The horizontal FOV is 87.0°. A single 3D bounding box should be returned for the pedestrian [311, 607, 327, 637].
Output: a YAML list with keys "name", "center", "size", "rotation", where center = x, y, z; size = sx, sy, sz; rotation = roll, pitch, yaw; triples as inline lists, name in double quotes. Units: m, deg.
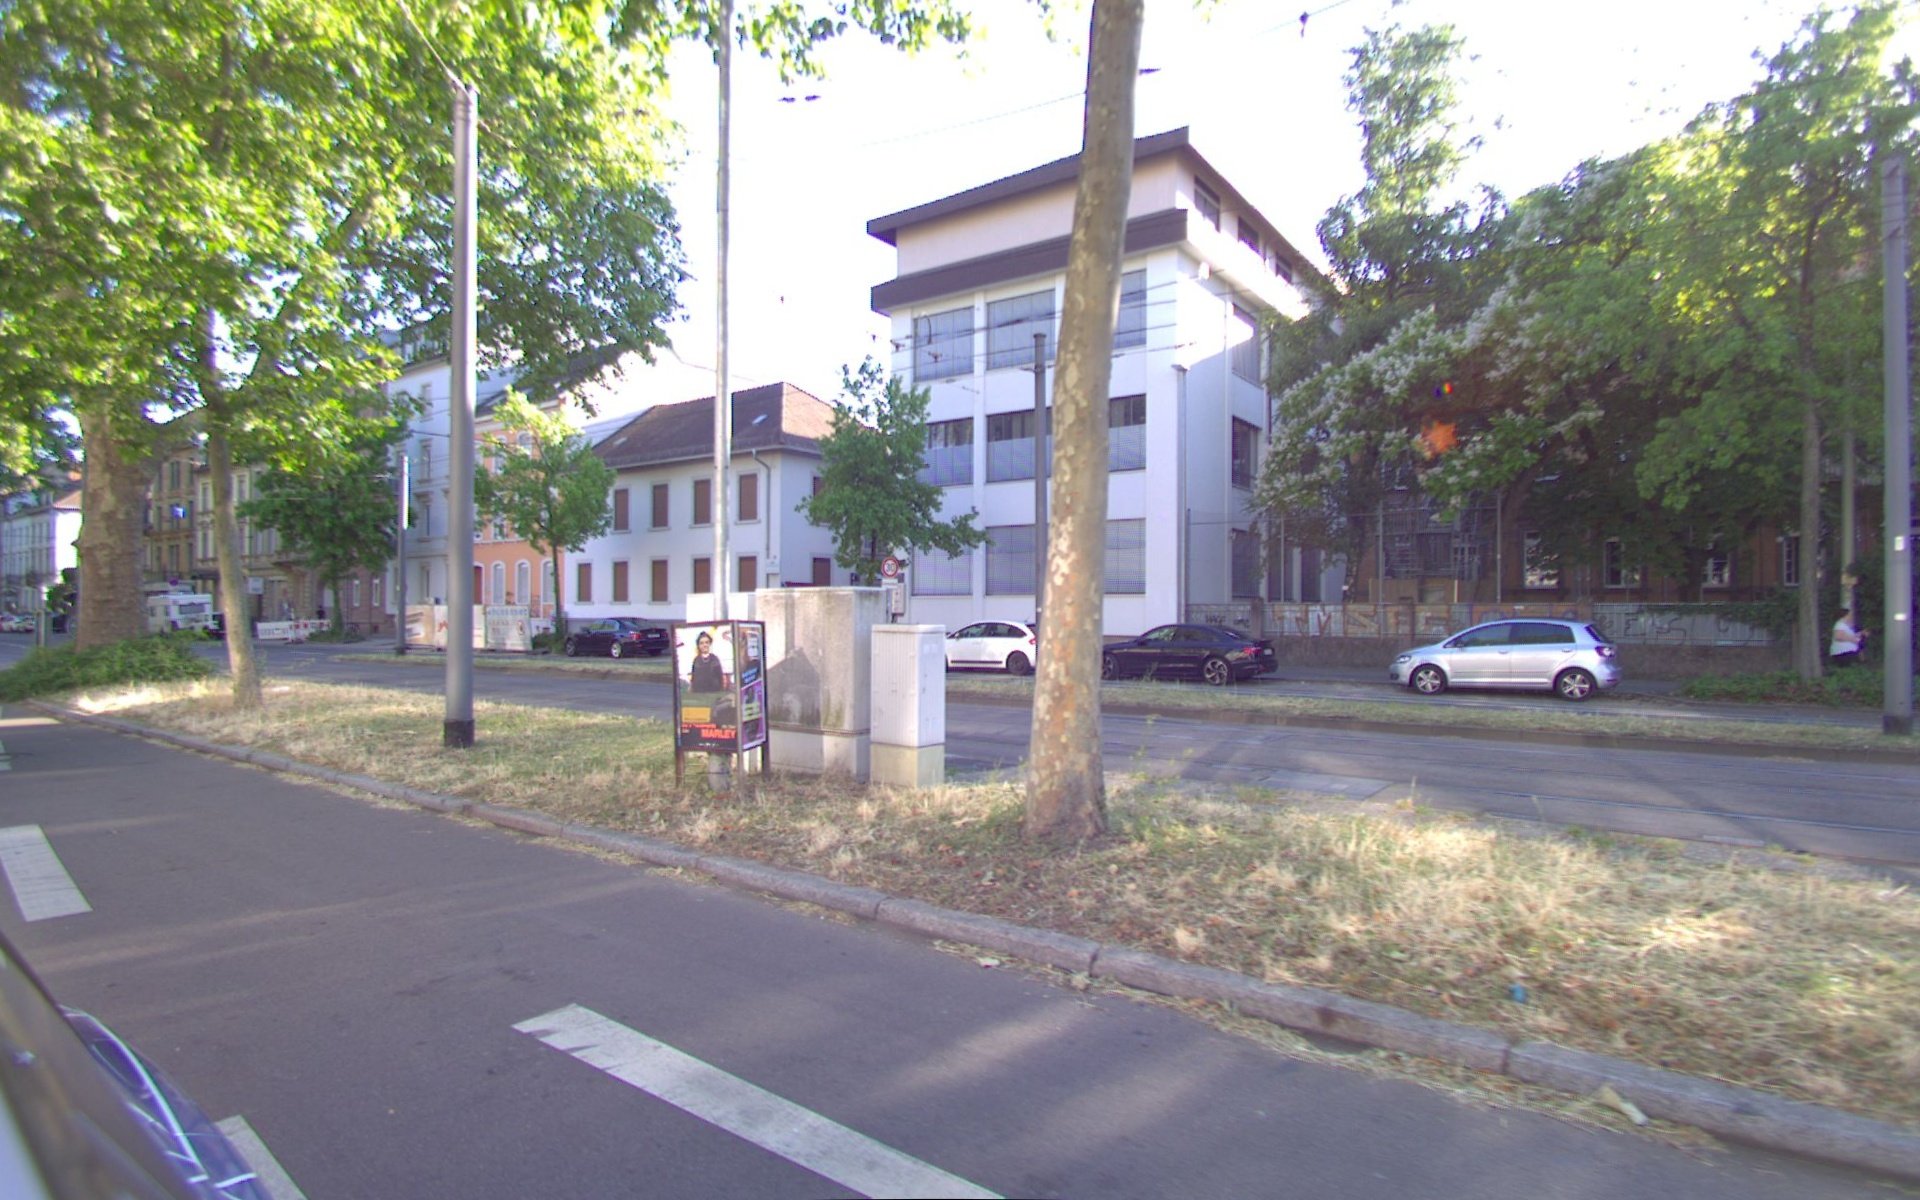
- name: "pedestrian"
  center: [-38.784, 1.312, 61.217]
  size: [0.704, 1.823, 0.555]
  rotation: [-1, -2, 37]

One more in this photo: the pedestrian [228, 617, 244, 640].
- name: "pedestrian"
  center: [-48.988, 1.915, 68.491]
  size: [0.613, 1.540, 0.635]
  rotation: [-1, -2, 29]

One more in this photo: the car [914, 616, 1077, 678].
- name: "car"
  center: [0.954, 1.238, 27.820]
  size: [3.987, 1.501, 2.065]
  rotation: [-1, 1, 34]

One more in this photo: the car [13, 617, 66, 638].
- name: "car"
  center: [-75.307, 2.222, 82.789]
  size: [5.092, 1.551, 2.065]
  rotation: [-1, 1, 34]

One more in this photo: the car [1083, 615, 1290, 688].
- name: "car"
  center: [5.425, 1.167, 24.414]
  size: [4.446, 1.513, 2.065]
  rotation: [-1, 1, 34]

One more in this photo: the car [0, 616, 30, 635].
- name: "car"
  center: [-82.694, 2.209, 87.819]
  size: [4.028, 1.551, 2.065]
  rotation: [-1, 1, 34]

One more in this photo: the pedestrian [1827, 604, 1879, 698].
- name: "pedestrian"
  center: [16.440, 0.931, 18.647]
  size: [0.630, 1.677, 0.563]
  rotation: [-1, 1, 35]

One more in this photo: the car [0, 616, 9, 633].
- name: "car"
  center: [-87.638, 2.234, 91.151]
  size: [4.087, 1.551, 2.065]
  rotation: [-1, 1, 34]

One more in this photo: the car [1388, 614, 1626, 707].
- name: "car"
  center: [11.136, 1.137, 20.657]
  size: [4.087, 1.631, 2.065]
  rotation: [-1, 1, 34]

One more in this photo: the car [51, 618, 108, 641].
- name: "car"
  center: [-65.024, 2.185, 74.691]
  size: [4.505, 1.551, 2.065]
  rotation: [-1, 1, 34]

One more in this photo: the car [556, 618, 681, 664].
- name: "car"
  center: [-12.711, 1.475, 37.582]
  size: [4.567, 1.481, 2.065]
  rotation: [-1, 1, 34]

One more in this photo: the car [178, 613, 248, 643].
- name: "car"
  center: [-45.804, 1.712, 62.055]
  size: [4.521, 1.686, 2.065]
  rotation: [-1, 1, 34]
